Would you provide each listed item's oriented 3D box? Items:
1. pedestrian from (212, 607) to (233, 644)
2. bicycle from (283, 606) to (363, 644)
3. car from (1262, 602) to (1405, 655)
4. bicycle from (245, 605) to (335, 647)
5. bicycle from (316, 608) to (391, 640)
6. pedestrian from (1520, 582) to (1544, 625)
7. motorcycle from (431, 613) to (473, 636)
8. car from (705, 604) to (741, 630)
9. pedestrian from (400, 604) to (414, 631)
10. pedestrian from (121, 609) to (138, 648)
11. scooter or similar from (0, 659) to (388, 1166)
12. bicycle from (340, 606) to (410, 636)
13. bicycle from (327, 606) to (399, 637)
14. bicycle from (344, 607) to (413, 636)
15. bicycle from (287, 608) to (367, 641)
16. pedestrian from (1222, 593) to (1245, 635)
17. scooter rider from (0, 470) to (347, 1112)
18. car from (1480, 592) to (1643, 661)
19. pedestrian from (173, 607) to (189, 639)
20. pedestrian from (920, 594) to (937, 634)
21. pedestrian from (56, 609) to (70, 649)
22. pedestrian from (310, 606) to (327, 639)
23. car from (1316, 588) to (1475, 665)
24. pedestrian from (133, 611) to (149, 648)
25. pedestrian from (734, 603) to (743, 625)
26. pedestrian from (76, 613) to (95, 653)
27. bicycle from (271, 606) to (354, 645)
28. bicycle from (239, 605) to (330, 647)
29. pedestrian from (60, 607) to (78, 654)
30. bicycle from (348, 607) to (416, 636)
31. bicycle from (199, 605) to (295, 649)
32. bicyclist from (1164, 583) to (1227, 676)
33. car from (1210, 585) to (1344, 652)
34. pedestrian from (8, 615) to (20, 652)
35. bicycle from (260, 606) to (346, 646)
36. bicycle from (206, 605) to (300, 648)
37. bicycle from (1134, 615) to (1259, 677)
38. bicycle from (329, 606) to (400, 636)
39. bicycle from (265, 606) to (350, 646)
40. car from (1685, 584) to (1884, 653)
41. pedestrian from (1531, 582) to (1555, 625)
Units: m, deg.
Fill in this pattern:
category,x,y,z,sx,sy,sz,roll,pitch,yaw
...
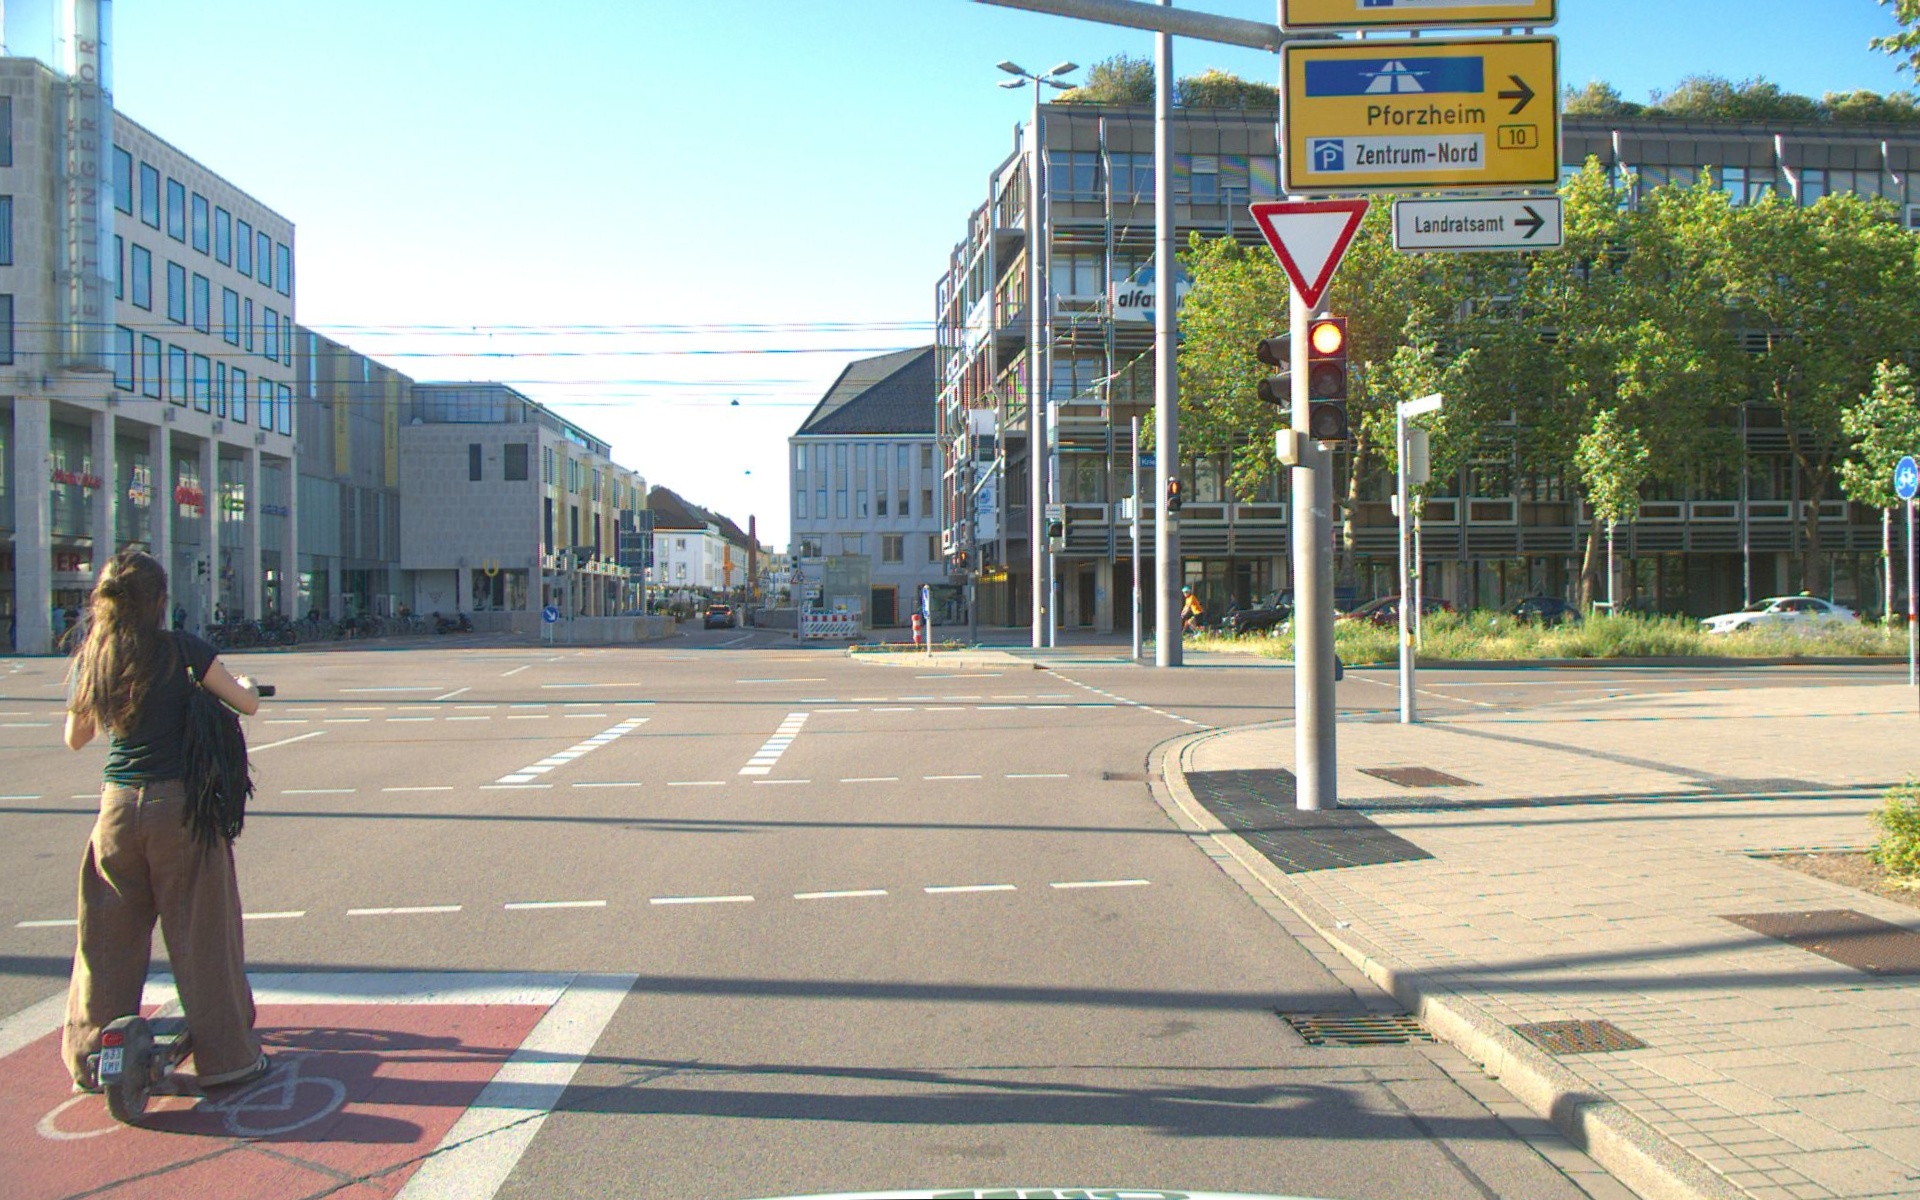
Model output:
category,x,y,z,sx,sy,sz,roll,pitch,yaw
pedestrian,-33.144,1.145,74.340,0.776,1.671,0.688,-1,0,-30
bicycle,-30.337,1.183,78.869,3.430,1.726,0.984,-1,0,-12
car,11.439,0.863,50.818,3.908,1.534,1.867,1,0,-4
bicycle,-29.099,1.119,71.927,3.427,1.726,1.114,-1,0,-10
bicycle,-30.885,1.207,84.268,3.430,1.554,0.984,-1,0,-12
pedestrian,22.924,0.138,66.311,0.651,1.687,0.740,-1,0,-8
motorcycle,-29.955,1.430,97.596,2.230,1.341,0.719,-1,0,-6
car,-15.497,1.092,108.165,2.157,1.635,4.320,-1,0,-6
pedestrian,-34.498,1.072,103.197,0.683,1.671,0.694,-1,0,-8
pedestrian,-34.905,1.179,69.541,0.472,1.613,0.513,-1,0,-5
scooter or similar,-2.380,0.824,5.037,0.713,1.223,1.664,0,0,-1
bicycle,-31.480,1.133,89.020,3.430,1.554,0.984,-1,0,-12
bicycle,-31.072,1.115,86.129,3.430,1.554,0.984,-1,0,-12
bicycle,-31.784,1.163,90.402,3.430,1.554,0.984,-1,0,-12
bicycle,-30.542,1.166,79.858,3.430,1.554,0.984,-1,0,-12
pedestrian,11.022,0.547,66.671,0.715,1.687,0.649,-1,0,-8
scooter rider,-2.385,0.537,5.071,0.713,1.806,0.811,0,0,-1
car,18.827,0.821,51.882,4.359,2.049,1.998,1,0,-6
pedestrian,-36.570,1.084,77.646,0.629,1.460,0.472,-1,0,-23
pedestrian,-1.319,0.592,69.612,0.650,1.687,0.755,-1,0,-4
pedestrian,-36.540,1.161,67.359,0.379,1.613,0.367,-1,0,-6
pedestrian,-33.397,1.168,86.108,0.641,1.671,0.693,-1,0,-9
car,12.231,0.733,46.581,3.908,2.049,1.999,1,0,-3
pedestrian,-34.757,1.258,70.193,0.472,1.537,0.513,-1,0,-5
pedestrian,-14.467,0.926,108.034,0.598,1.436,0.569,-1,0,-7
pedestrian,-35.459,1.320,67.102,0.472,1.613,0.598,-1,0,-5
bicycle,-30.039,1.174,76.783,3.430,1.726,0.984,-1,0,-12
bicycle,-28.868,1.083,70.715,3.427,1.726,1.114,-1,0,-10
pedestrian,-32.632,1.109,60.561,0.534,1.671,0.546,-1,0,-26
bicycle,-31.948,1.193,91.426,3.430,1.554,0.984,-1,0,-12
bicycle,-29.322,1.109,68.035,3.427,1.726,1.114,-1,0,-10
bicyclist,6.718,0.832,47.226,1.539,2.625,0.930,-1,0,-10
car,10.304,0.597,53.922,3.908,2.049,1.999,1,0,-3
pedestrian,-37.008,1.324,64.728,0.382,1.437,0.433,-1,0,-29
bicycle,-29.574,1.164,74.496,3.430,1.726,0.984,-1,0,-12
bicycle,-29.553,1.109,69.221,3.427,1.726,1.114,-1,0,-10
bicycle,6.748,1.301,47.225,3.427,1.688,0.929,-1,0,-10
bicycle,-31.389,1.103,87.246,3.430,1.554,0.984,-1,0,-12
bicycle,-29.798,1.173,75.584,3.430,1.726,0.984,-1,0,-12
car,26.172,0.579,52.578,5.332,2.049,2.096,1,0,-3
pedestrian,23.050,0.136,65.406,0.651,1.687,0.740,-1,0,-8
